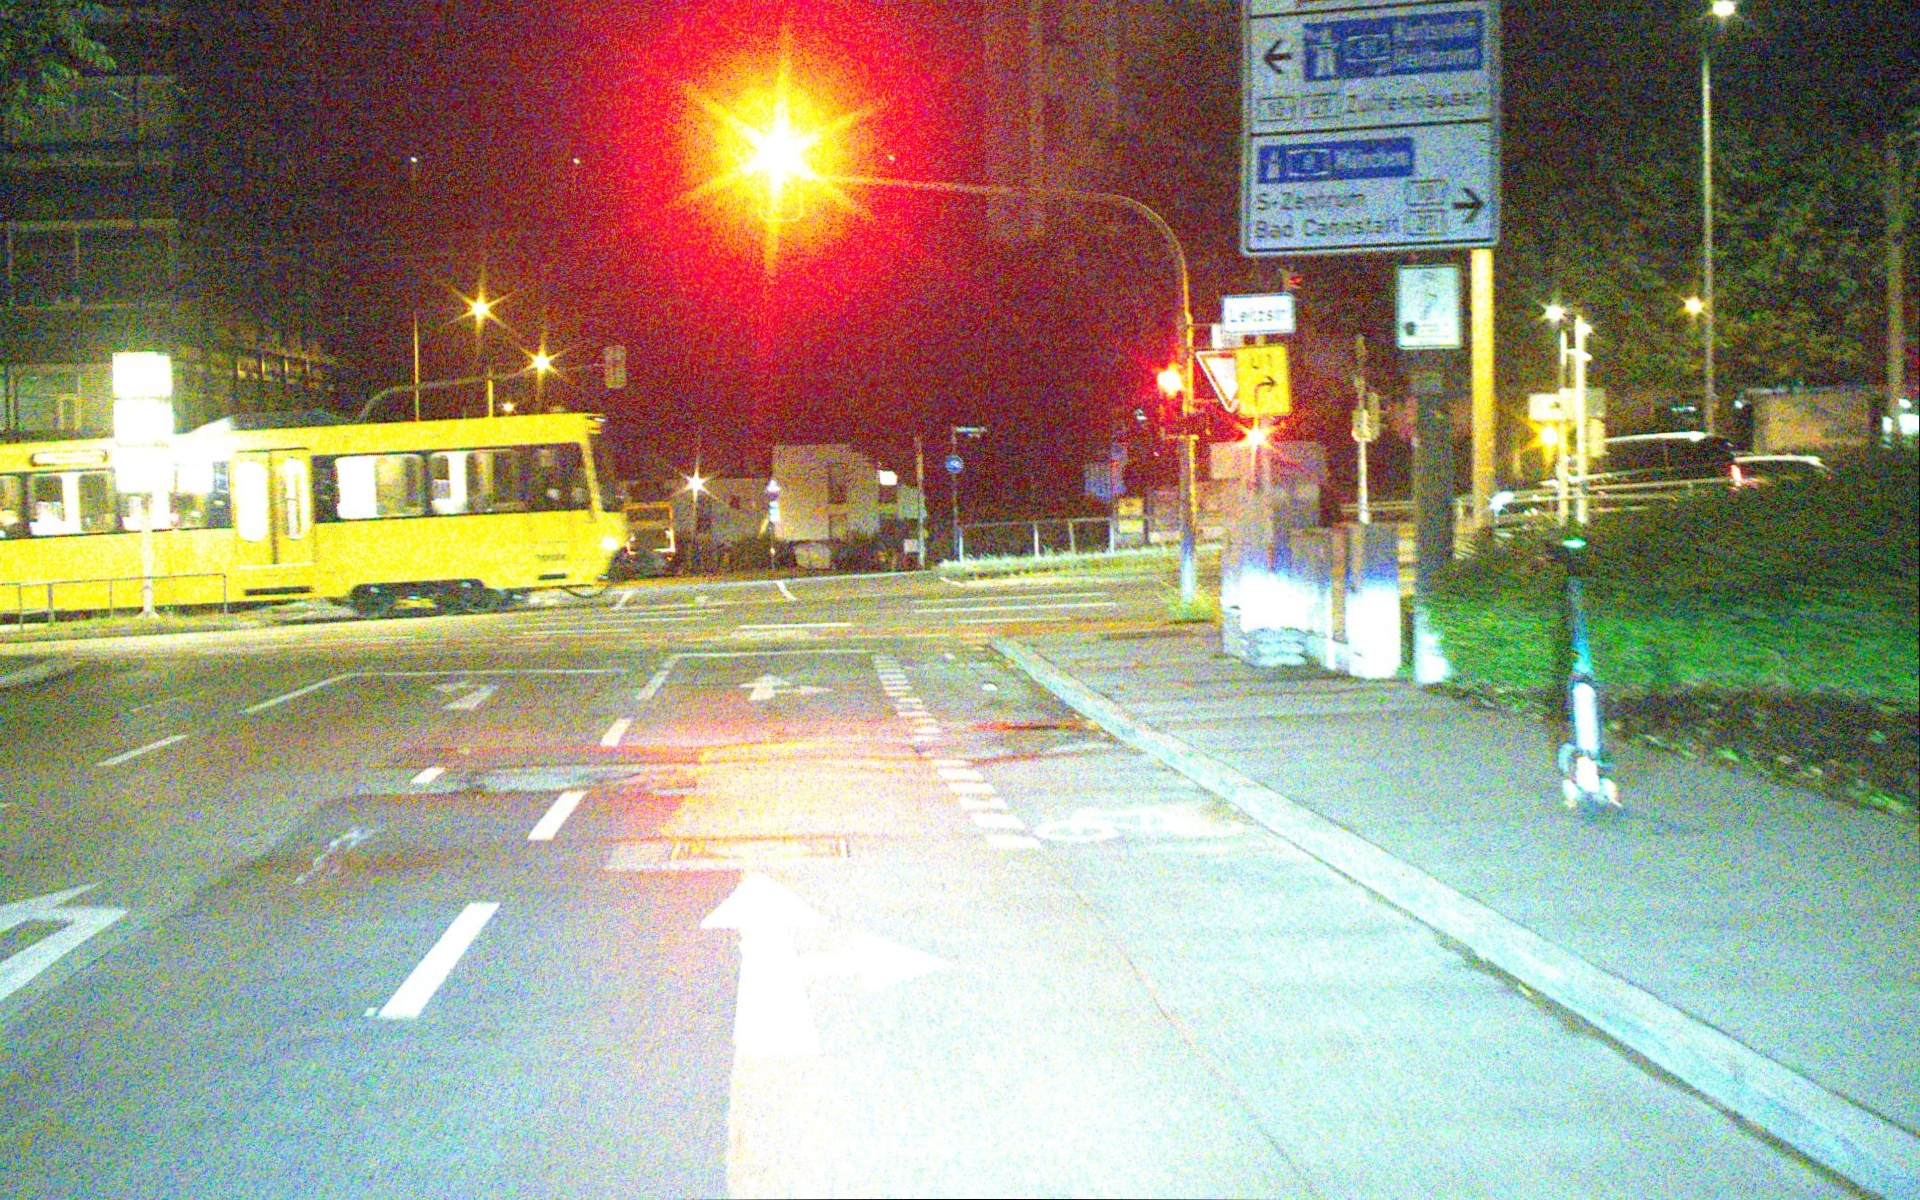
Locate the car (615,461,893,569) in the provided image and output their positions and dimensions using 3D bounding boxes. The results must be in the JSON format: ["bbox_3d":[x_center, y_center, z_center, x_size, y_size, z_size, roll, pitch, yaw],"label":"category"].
[{"bbox_3d":[-9.872,-4.084,164.595,12.381,4.693,4.811,-2,2,-16],"label":"car"}]

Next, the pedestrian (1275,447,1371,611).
[{"bbox_3d":[3.931,-0.764,37.281,0.900,1.706,0.775,-4,1,3],"label":"pedestrian"}]

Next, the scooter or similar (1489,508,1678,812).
[{"bbox_3d":[2.754,0.239,15.282,0.494,1.257,1.320,-4,2,-1],"label":"scooter or similar"}]

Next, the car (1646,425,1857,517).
[{"bbox_3d":[16.668,-2.722,72.546,4.059,1.610,1.869,-4,2,6],"label":"car"}]

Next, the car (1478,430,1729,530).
[{"bbox_3d":[12.844,-2.401,68.854,4.613,1.634,2.000,-4,2,3],"label":"car"}]

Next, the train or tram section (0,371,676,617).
[{"bbox_3d":[-14.919,-1.739,61.839,19.176,3.810,2.923,-2,1,3],"label":"train or tram section"}]
